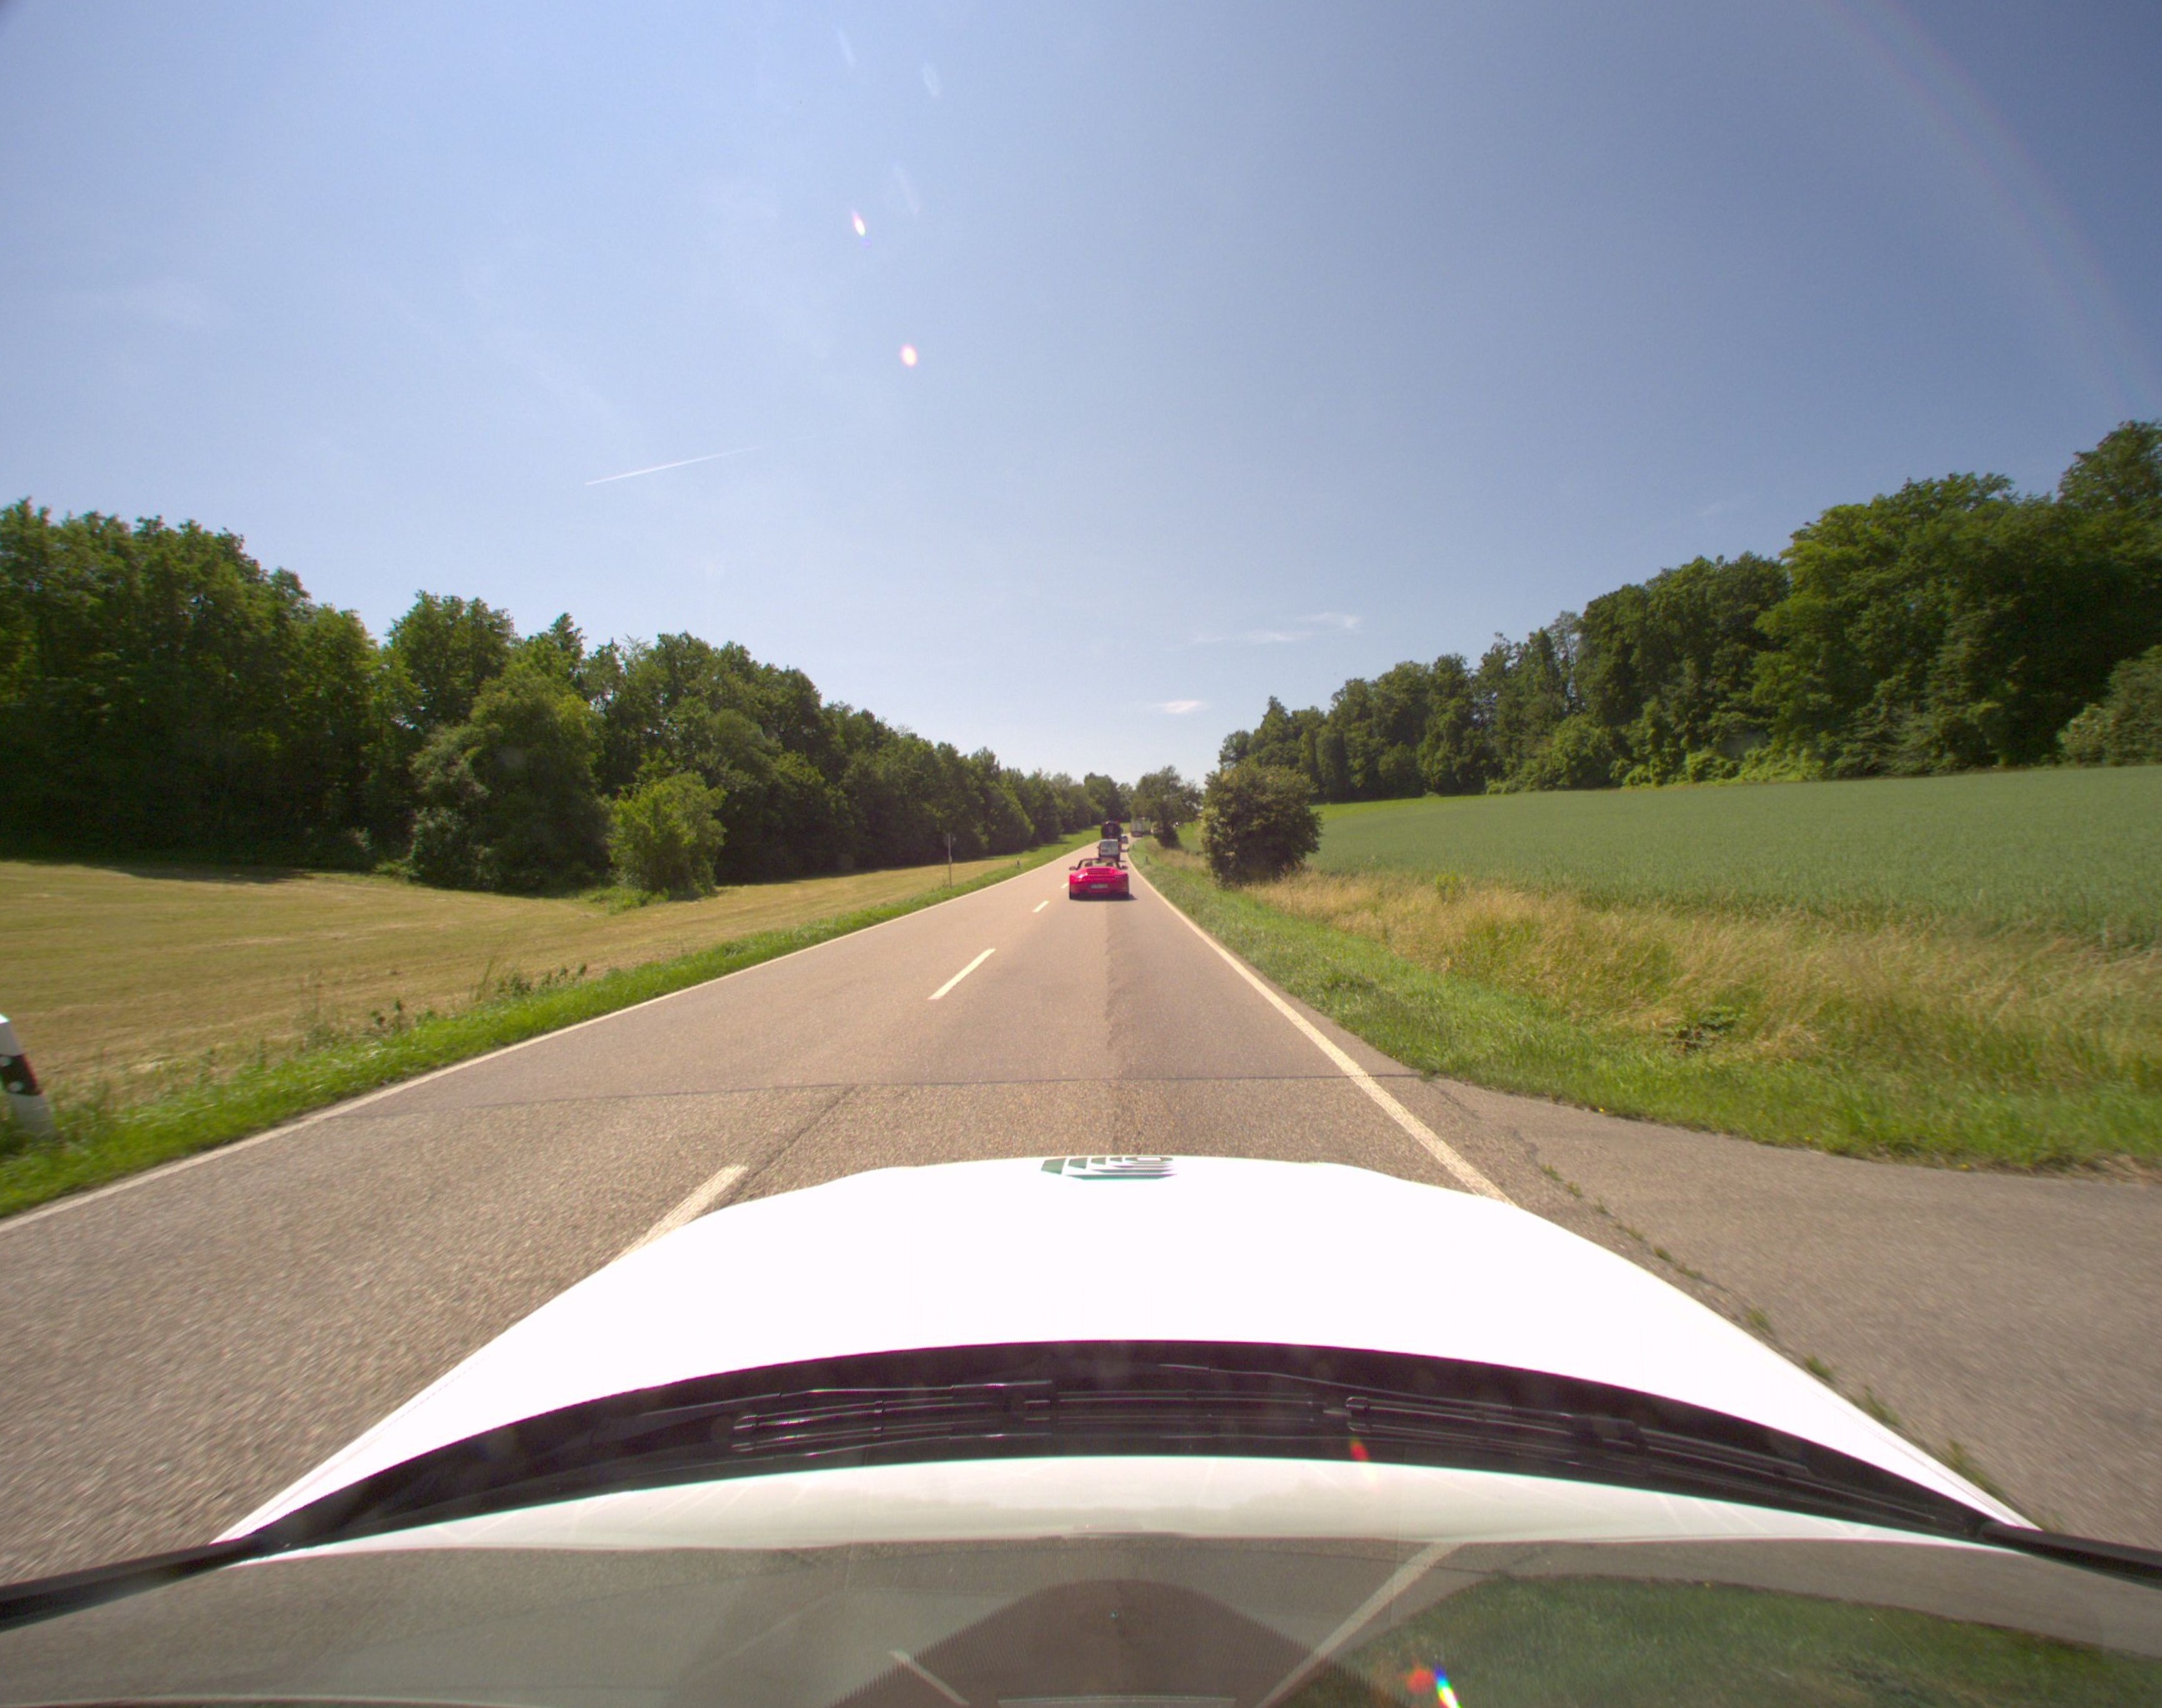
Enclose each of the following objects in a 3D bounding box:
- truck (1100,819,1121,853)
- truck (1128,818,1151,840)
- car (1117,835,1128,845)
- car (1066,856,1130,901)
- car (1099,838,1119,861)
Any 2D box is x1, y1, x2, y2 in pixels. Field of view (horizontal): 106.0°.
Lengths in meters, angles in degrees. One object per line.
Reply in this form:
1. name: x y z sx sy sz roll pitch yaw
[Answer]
1. truck: 3.823 -2.370 107.234 2.395 4.049 12.554 -2 1 1
2. truck: 13.358 -5.751 183.866 3.702 4.659 12.069 -1 3 10
3. car: 7.580 -2.591 148.035 1.822 1.513 4.198 -4 3 5
4. car: 0.579 0.741 26.262 1.875 1.255 4.011 -1 0 2
5. car: 2.452 -0.399 70.757 1.672 1.900 4.012 -1 1 2
